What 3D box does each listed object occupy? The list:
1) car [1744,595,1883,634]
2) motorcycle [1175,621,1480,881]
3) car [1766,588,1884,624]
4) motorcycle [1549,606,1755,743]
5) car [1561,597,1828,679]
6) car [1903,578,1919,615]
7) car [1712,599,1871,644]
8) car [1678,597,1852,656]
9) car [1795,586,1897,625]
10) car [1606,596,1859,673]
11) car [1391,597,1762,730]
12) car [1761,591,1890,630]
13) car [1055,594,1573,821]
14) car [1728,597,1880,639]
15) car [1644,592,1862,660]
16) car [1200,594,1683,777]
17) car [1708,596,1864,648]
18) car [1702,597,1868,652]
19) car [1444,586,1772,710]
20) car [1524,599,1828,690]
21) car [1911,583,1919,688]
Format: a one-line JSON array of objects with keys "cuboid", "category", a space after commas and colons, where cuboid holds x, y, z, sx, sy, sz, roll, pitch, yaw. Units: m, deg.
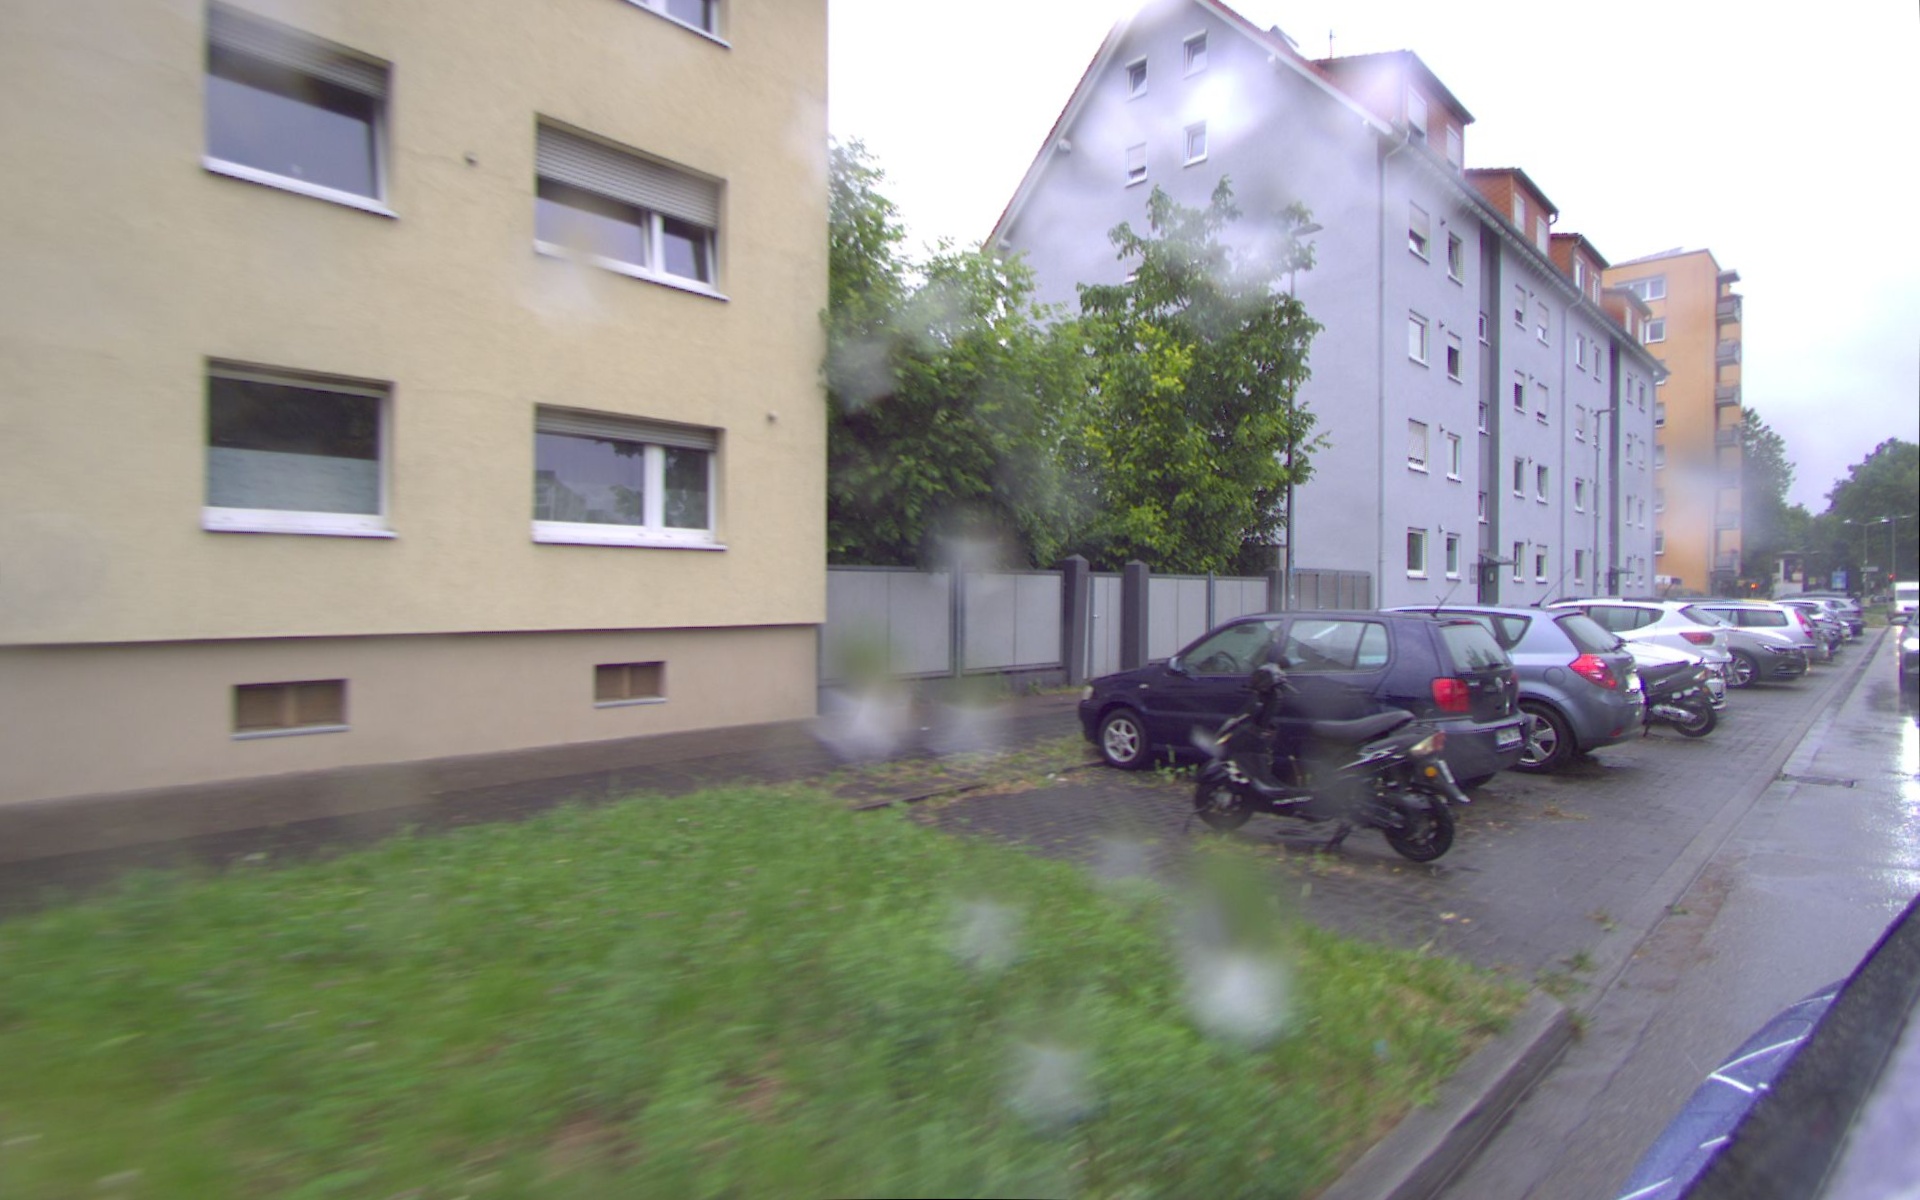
[{"cuboid": [34.567, 0.570, 41.069, 1.623, 1.471, 4.163, -1, 0, -44], "category": "car"}, {"cuboid": [2.163, 0.805, 6.092, 1.589, 1.341, 0.684, -1, -2, 44], "category": "motorcycle"}, {"cuboid": [41.348, 0.282, 48.437, 1.623, 1.626, 4.163, -1, 0, -44], "category": "car"}, {"cuboid": [7.627, 0.771, 11.216, 0.722, 1.390, 1.763, 0, 0, -44], "category": "motorcycle"}, {"cuboid": [14.890, 0.708, 20.663, 1.888, 1.495, 4.163, -1, 0, -44], "category": "car"}, {"cuboid": [60.832, -0.256, 63.612, 2.189, 2.284, 4.806, -1, 0, 44], "category": "car"}, {"cuboid": [29.130, 0.714, 35.528, 1.623, 1.471, 4.163, -1, 0, -44], "category": "car"}, {"cuboid": [22.140, 0.698, 27.917, 1.516, 1.506, 3.611, -1, 0, -44], "category": "car"}, {"cuboid": [47.830, 0.306, 54.671, 1.967, 2.039, 3.990, 0, 0, -44], "category": "car"}, {"cuboid": [16.639, 0.689, 21.957, 1.623, 1.495, 4.163, -1, 0, -44], "category": "car"}, {"cuboid": [8.102, 0.737, 13.535, 1.826, 1.499, 3.916, -1, 0, -44], "category": "car"}, {"cuboid": [37.954, 0.444, 44.447, 1.623, 1.626, 4.163, -1, 0, -44], "category": "car"}, {"cuboid": [2.813, 0.735, 8.550, 1.771, 1.473, 3.752, 2, -2, -45], "category": "car"}, {"cuboid": [31.168, 0.637, 37.461, 1.623, 1.471, 4.163, -1, 0, -44], "category": "car"}, {"cuboid": [20.018, 0.618, 25.677, 1.623, 1.589, 4.163, -1, 0, -44], "category": "car"}, {"cuboid": [4.710, 0.729, 10.291, 1.902, 1.473, 4.054, 2, -2, -45], "category": "car"}, {"cuboid": [25.803, 0.657, 31.683, 1.516, 1.506, 3.611, -1, 0, -44], "category": "car"}, {"cuboid": [24.115, 0.682, 29.668, 1.516, 1.506, 3.611, -1, 0, -44], "category": "car"}, {"cuboid": [9.698, 0.648, 15.356, 1.664, 1.635, 3.916, -1, 0, -44], "category": "car"}, {"cuboid": [13.331, 0.754, 19.025, 2.017, 1.495, 4.380, -1, 0, -44], "category": "car"}, {"cuboid": [17.858, 0.554, 17.496, 1.956, 1.733, 4.108, -1, 0, 44], "category": "car"}]
